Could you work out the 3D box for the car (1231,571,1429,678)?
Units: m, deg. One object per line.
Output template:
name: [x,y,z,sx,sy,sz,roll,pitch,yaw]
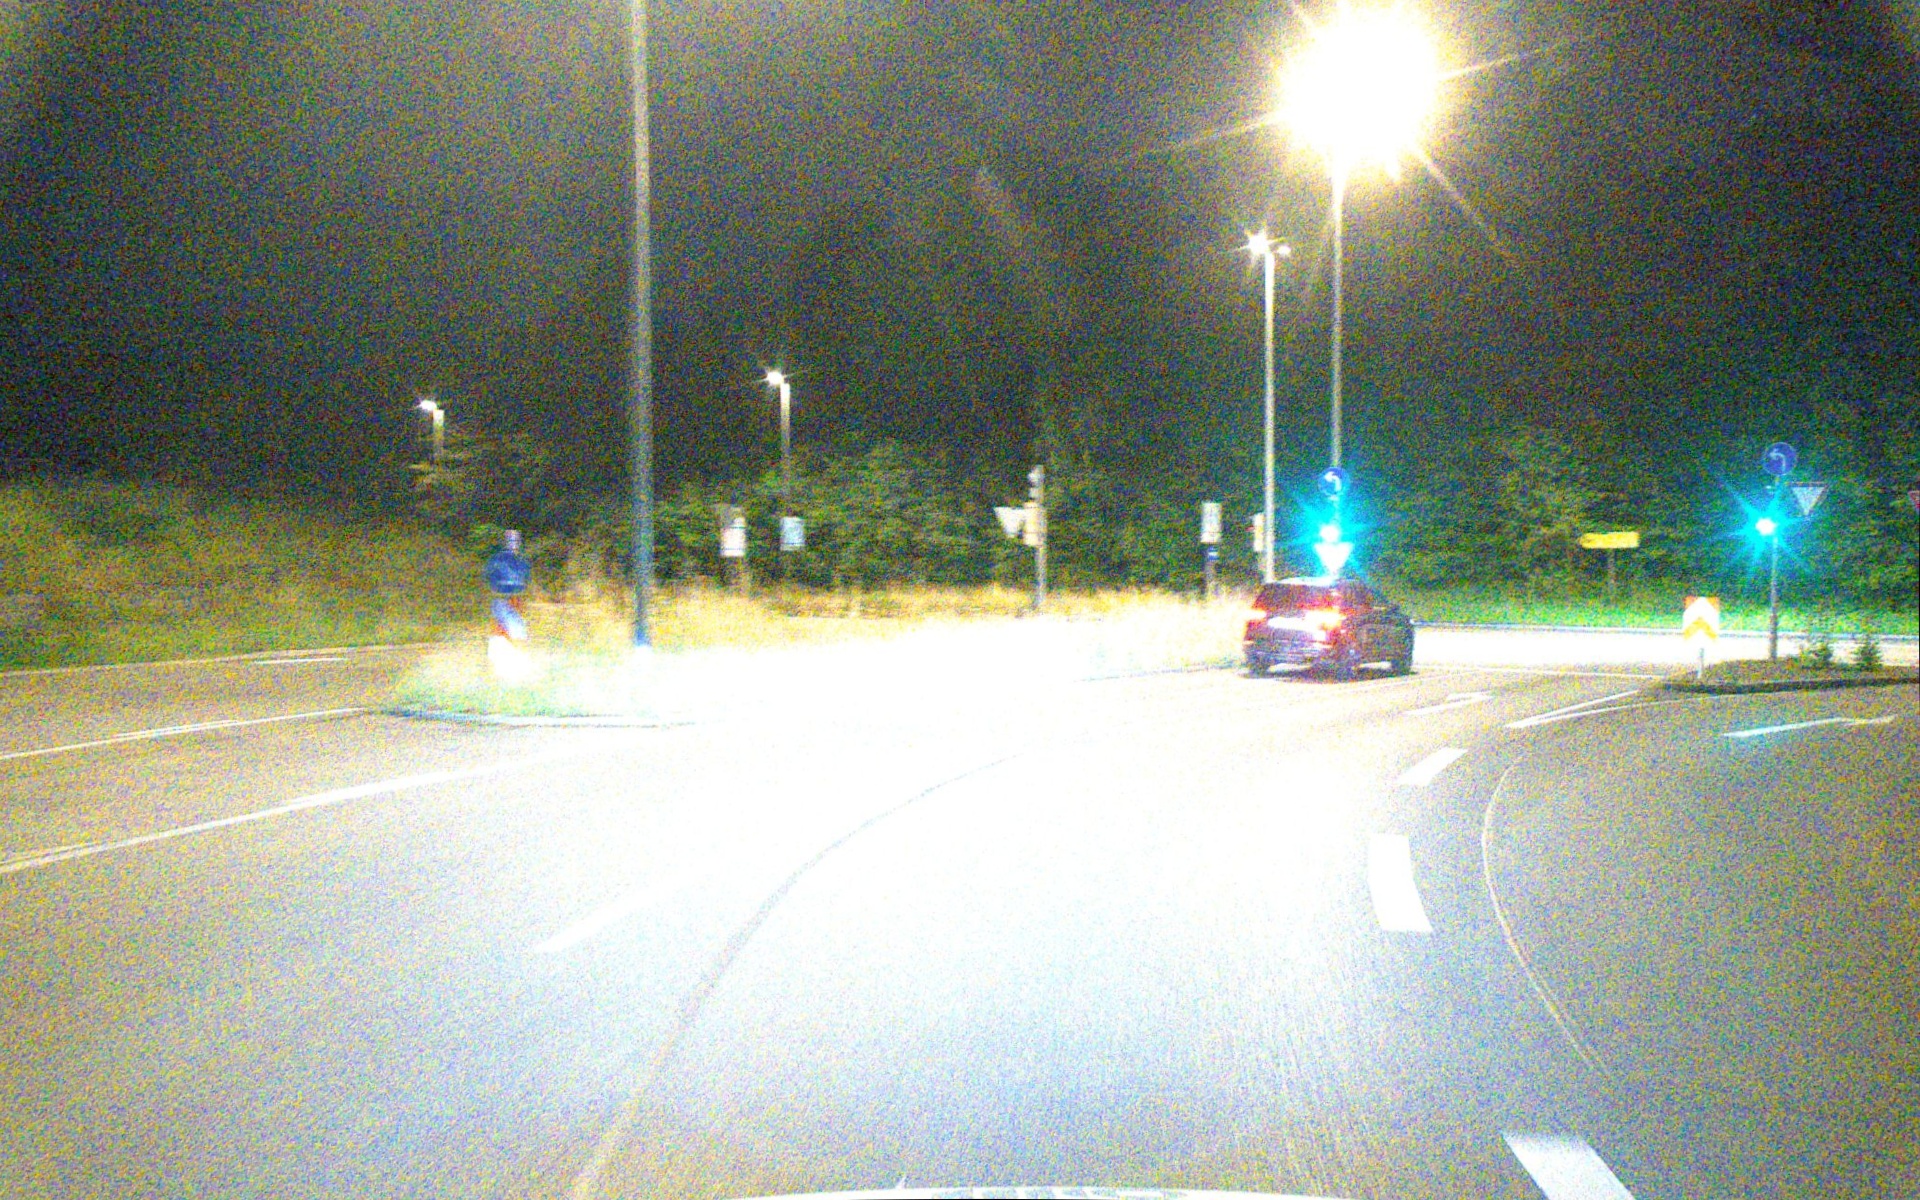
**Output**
car: [6.285,0.359,27.822,1.821,1.610,3.992,2,2,36]
